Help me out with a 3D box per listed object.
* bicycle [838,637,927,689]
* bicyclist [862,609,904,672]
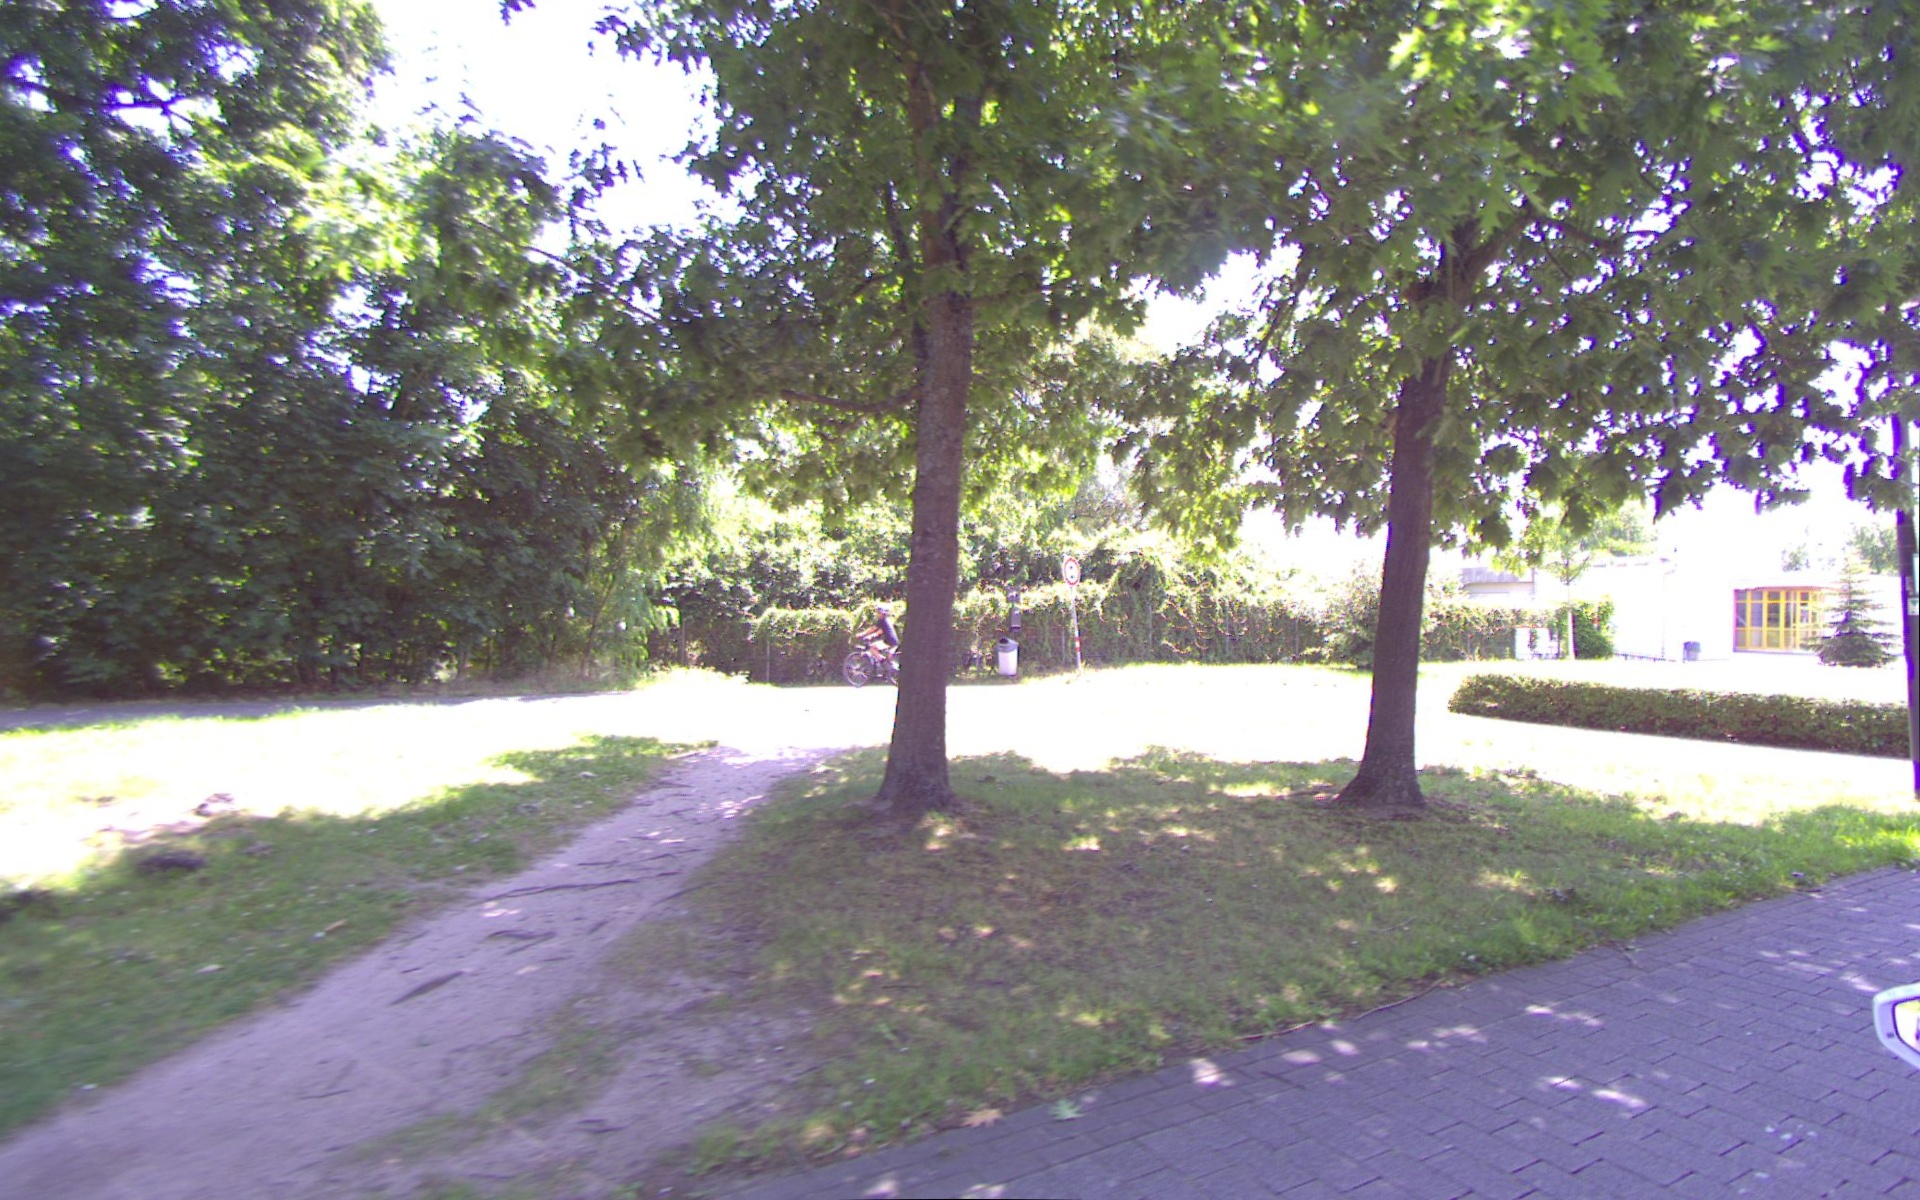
[{"bbox_3d":[-1.488,1.197,19.260,1.588,0.941,0.599,0,-1,16],"label":"bicycle"},{"bbox_3d":[-1.470,0.761,19.262,0.635,1.180,0.599,0,-1,16],"label":"bicyclist"}]
